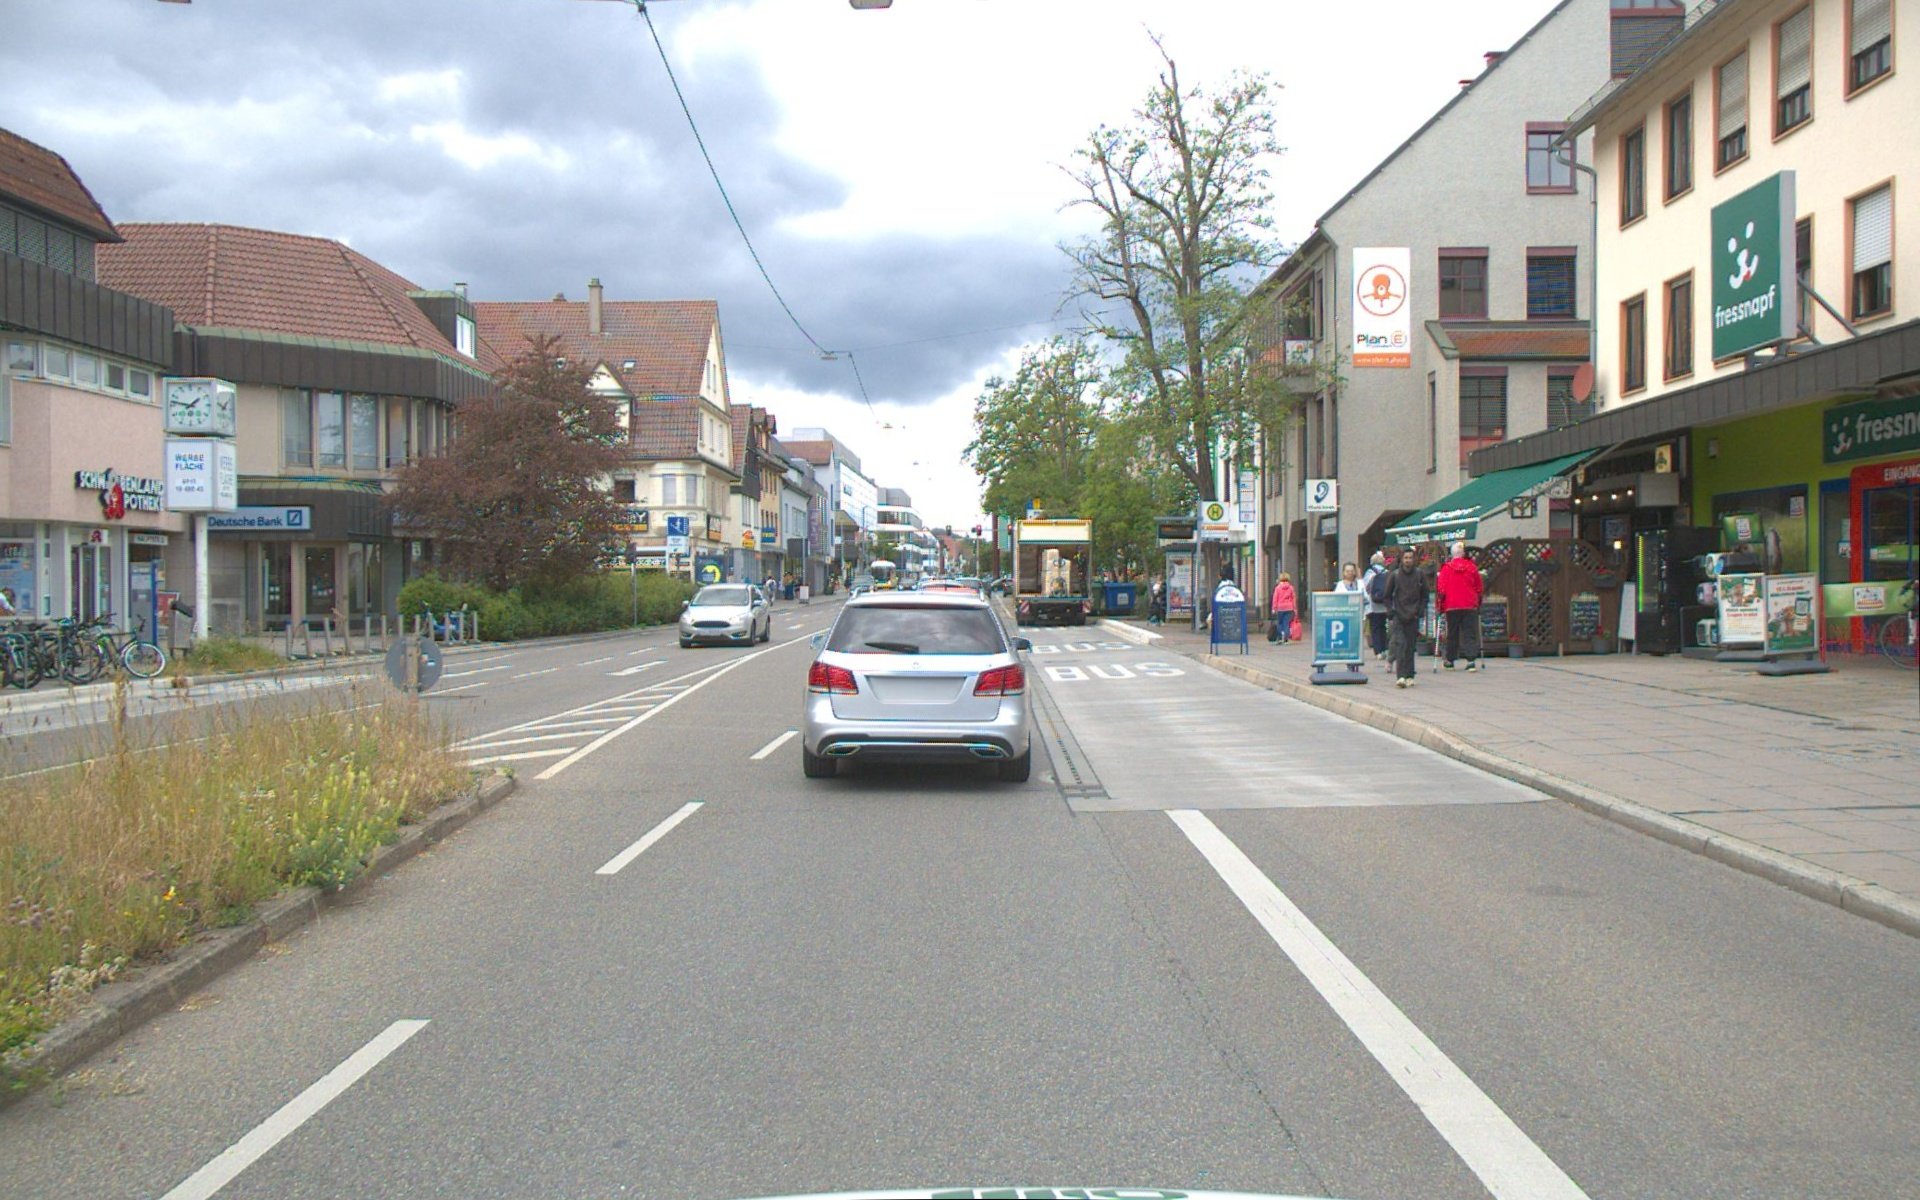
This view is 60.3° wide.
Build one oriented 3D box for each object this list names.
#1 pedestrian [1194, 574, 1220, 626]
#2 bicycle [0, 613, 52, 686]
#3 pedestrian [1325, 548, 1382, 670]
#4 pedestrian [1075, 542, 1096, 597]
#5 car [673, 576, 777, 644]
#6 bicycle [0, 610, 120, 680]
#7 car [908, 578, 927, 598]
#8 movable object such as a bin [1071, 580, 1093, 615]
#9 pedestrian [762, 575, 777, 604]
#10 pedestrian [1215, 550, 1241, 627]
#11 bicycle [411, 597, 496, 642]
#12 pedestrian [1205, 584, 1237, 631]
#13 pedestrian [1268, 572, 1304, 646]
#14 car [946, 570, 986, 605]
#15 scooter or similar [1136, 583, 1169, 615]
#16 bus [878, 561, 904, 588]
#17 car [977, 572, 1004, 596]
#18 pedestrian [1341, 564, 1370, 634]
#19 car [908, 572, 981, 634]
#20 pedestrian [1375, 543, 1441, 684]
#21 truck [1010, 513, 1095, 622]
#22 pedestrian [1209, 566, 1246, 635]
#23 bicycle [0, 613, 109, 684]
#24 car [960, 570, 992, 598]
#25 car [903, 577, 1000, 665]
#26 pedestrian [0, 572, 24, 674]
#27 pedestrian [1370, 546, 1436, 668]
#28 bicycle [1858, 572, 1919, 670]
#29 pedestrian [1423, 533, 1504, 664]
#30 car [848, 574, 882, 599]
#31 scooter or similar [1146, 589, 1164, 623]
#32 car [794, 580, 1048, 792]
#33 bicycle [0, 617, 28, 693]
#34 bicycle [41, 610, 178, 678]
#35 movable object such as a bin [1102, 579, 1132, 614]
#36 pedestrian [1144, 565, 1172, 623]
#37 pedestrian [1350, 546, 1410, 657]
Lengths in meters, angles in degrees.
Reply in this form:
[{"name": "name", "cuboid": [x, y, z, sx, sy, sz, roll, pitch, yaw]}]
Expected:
[{"name": "pedestrian", "cuboid": [6.918, -0.001, 46.333, 0.600, 1.425, 0.588, -2, 0, 14]}, {"name": "bicycle", "cuboid": [-15.337, 0.778, 25.761, 1.980, 1.109, 0.648, -1, 1, -9]}, {"name": "pedestrian", "cuboid": [5.470, 0.125, 23.035, 0.600, 1.663, 0.615, -1, 0, -2]}, {"name": "pedestrian", "cuboid": [4.134, -0.995, 54.562, 0.601, 1.811, 0.587, -1, -1, -3]}, {"name": "car", "cuboid": [-5.711, 0.215, 40.669, 1.835, 1.532, 4.344, -2, 0, 1]}, {"name": "bicycle", "cuboid": [-15.226, 0.746, 27.663, 1.980, 1.109, 0.648, -1, 1, -9]}, {"name": "car", "cuboid": [-3.544, -1.007, 138.505, 1.538, 1.567, 2.960, 2, 1, -2]}, {"name": "movable object such as a bin", "cuboid": [4.913, -0.113, 66.714, 0.863, 1.363, 1.086, -1, 1, 3]}, {"name": "pedestrian", "cuboid": [-10.950, -0.598, 95.184, 0.801, 1.663, 0.979, 2, 1, -5]}, {"name": "pedestrian", "cuboid": [7.352, -0.321, 45.362, 0.600, 2.082, 0.588, -2, 0, 14]}, {"name": "bicycle", "cuboid": [-12.852, 0.490, 41.999, 1.980, 1.109, 0.648, -1, 1, -9]}, {"name": "pedestrian", "cuboid": [6.746, 0.193, 42.780, 0.698, 1.186, 0.587, 0, 1, -6]}, {"name": "pedestrian", "cuboid": [7.168, 0.196, 36.361, 0.658, 1.594, 0.492, 1, 2, 21]}, {"name": "car", "cuboid": [0.327, -0.653, 83.346, 1.952, 1.713, 4.001, 0, 1, 1]}, {"name": "scooter or similar", "cuboid": [7.376, -0.041, 63.293, 1.154, 1.217, 0.459, -1, 1, -9]}, {"name": "bus", "cuboid": [-8.344, -3.068, 201.309, 2.718, 3.220, 5.934, 0, 1, 1]}, {"name": "car", "cuboid": [2.210, -1.159, 120.627, 1.952, 1.713, 4.001, 0, 1, 1]}, {"name": "pedestrian", "cuboid": [9.508, -0.033, 39.766, 0.574, 1.663, 0.615, 0, 1, 2]}, {"name": "car", "cuboid": [-0.406, 0.052, 47.356, 1.952, 1.713, 4.001, 0, 1, 1]}, {"name": "pedestrian", "cuboid": [5.569, 0.158, 20.586, 0.599, 1.707, 0.615, 2, 1, 3]}, {"name": "truck", "cuboid": [3.252, -1.179, 60.228, 2.633, 3.623, 9.768, 0, 1, 1]}, {"name": "pedestrian", "cuboid": [6.529, -0.005, 40.401, 0.604, 1.663, 0.789, -1, 1, -21]}, {"name": "bicycle", "cuboid": [-15.057, 0.787, 26.967, 1.980, 1.109, 0.648, -1, 1, -9]}, {"name": "car", "cuboid": [1.045, -1.018, 104.308, 1.952, 1.713, 4.001, 0, 1, 1]}, {"name": "car", "cuboid": [-0.116, 0.363, 31.399, 1.718, 1.547, 4.001, -1, 0, 1]}, {"name": "pedestrian", "cuboid": [-17.454, 0.395, 29.790, 0.711, 1.794, 0.755, 2, 1, -2]}, {"name": "pedestrian", "cuboid": [6.180, 0.101, 23.088, 0.704, 1.663, 0.615, -1, 0, -2]}, {"name": "bicycle", "cuboid": [11.111, 0.231, 18.587, 0.726, 1.081, 2.351, -1, 1, -1]}, {"name": "pedestrian", "cuboid": [7.038, -0.018, 23.160, 0.779, 1.772, 0.781, -2, -1, -5]}, {"name": "car", "cuboid": [-6.975, -1.016, 121.956, 2.026, 1.768, 4.695, -2, 1, 2]}, {"name": "scooter or similar", "cuboid": [5.722, 0.176, 48.565, 0.381, 0.975, 0.350, -1, 1, -40]}, {"name": "car", "cuboid": [-0.315, 0.602, 14.001, 1.836, 1.532, 3.999, 0, 1, -1]}, {"name": "bicycle", "cuboid": [-15.113, 0.827, 24.705, 1.978, 1.109, 0.648, 0, 1, -4]}, {"name": "bicycle", "cuboid": [-14.667, 0.748, 28.549, 1.980, 1.109, 0.648, -1, 1, -9]}, {"name": "movable object such as a bin", "cuboid": [6.302, -0.136, 66.488, 1.119, 1.363, 1.376, -1, 1, 3]}, {"name": "pedestrian", "cuboid": [5.865, -0.185, 48.938, 0.527, 1.663, 0.584, 2, 1, -24]}, {"name": "pedestrian", "cuboid": [6.934, 0.025, 27.320, 0.669, 1.772, 0.781, -2, -1, -5]}]
